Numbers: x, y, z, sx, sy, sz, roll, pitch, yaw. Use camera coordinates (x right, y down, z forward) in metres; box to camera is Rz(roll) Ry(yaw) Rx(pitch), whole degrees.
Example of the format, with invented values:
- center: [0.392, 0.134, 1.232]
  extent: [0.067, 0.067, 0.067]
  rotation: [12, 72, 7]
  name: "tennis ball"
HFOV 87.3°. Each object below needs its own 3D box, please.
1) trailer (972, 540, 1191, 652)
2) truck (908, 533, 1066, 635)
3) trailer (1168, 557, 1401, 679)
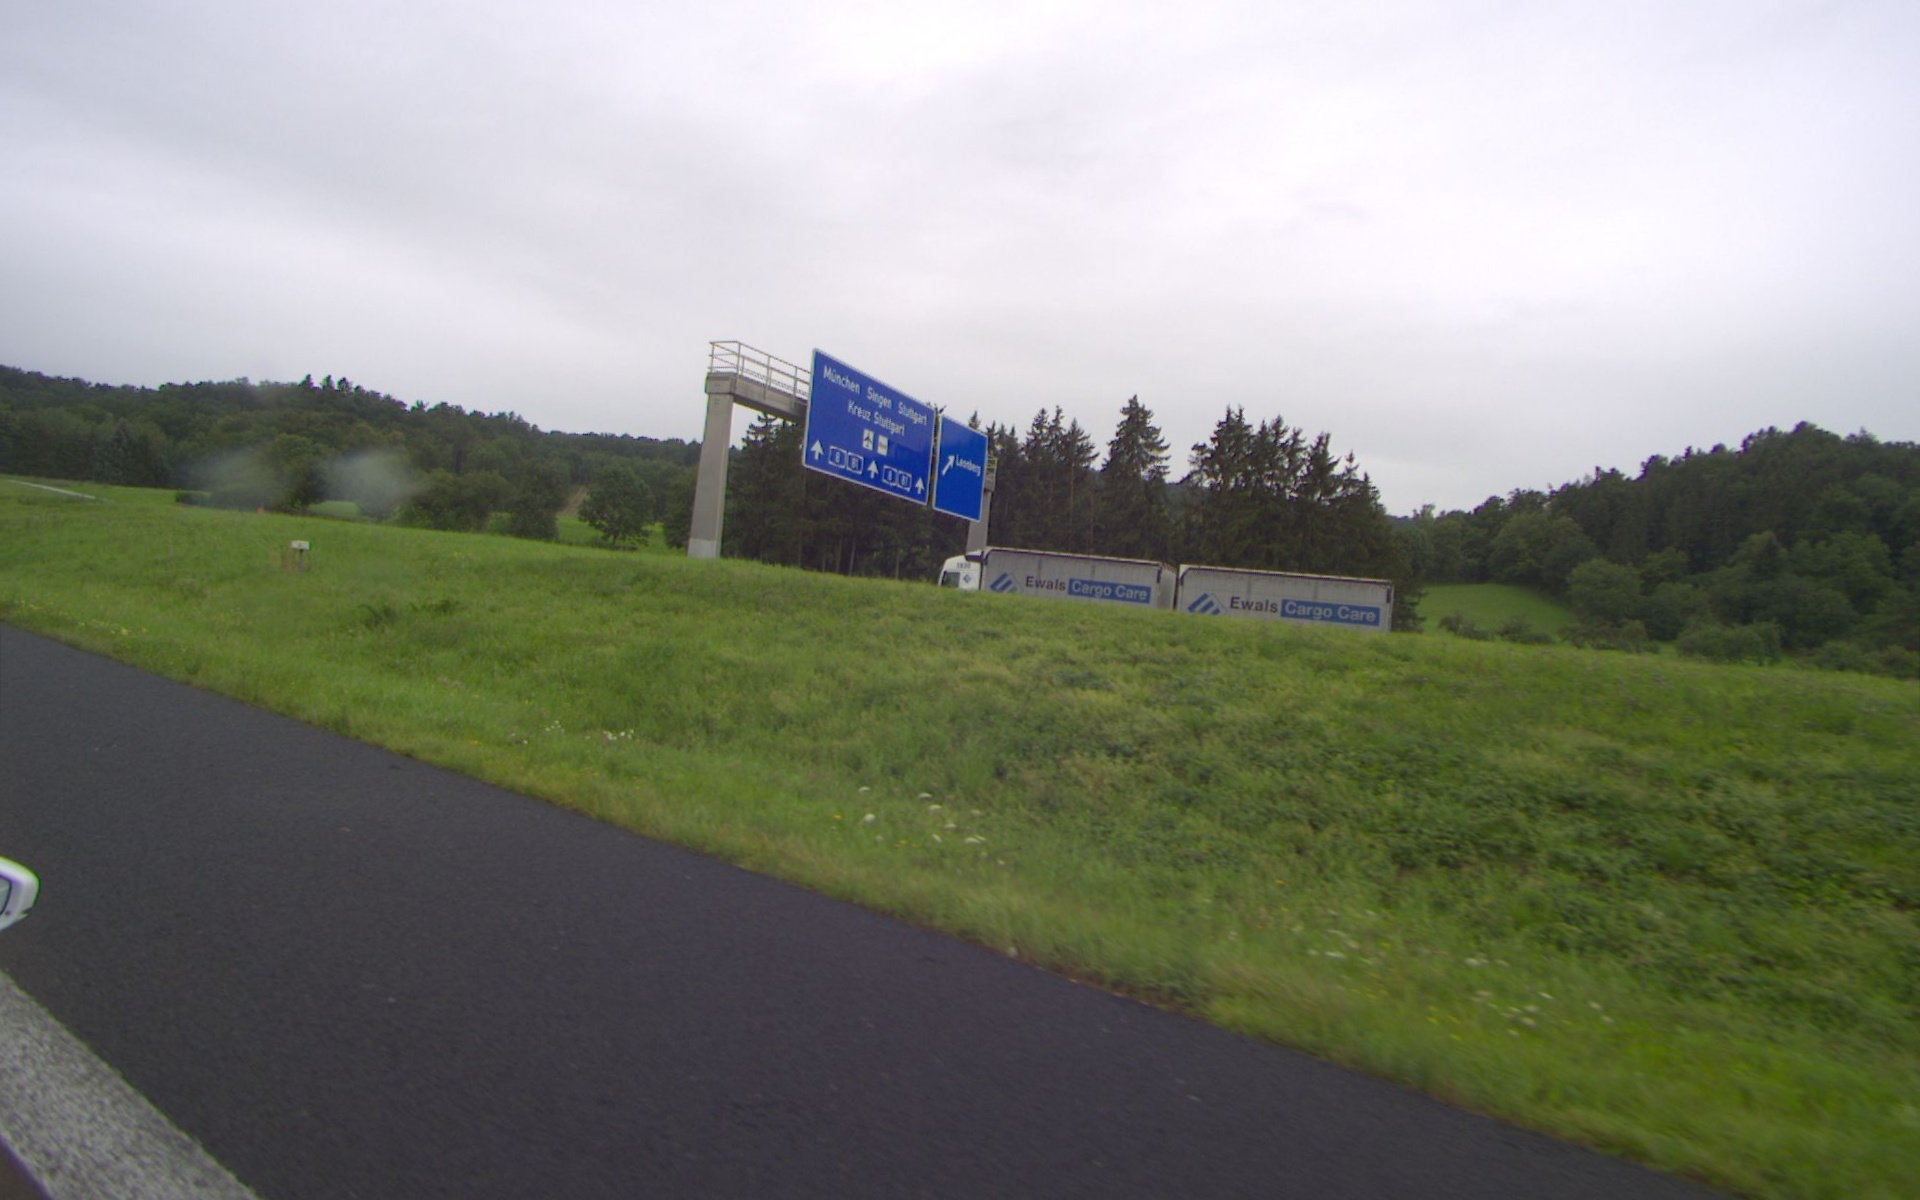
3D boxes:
- center: [5.062, -0.189, 42.180]
  extent: [8.268, 3.567, 2.948]
  rotation: [7, -2, 24]
  name: "trailer"
- center: [1.196, -0.690, 43.931]
  extent: [5.820, 3.567, 2.948]
  rotation: [7, -2, 25]
  name: "truck"
- center: [12.478, 0.660, 38.779]
  extent: [7.939, 3.567, 3.089]
  rotation: [7, -2, 25]
  name: "trailer"
